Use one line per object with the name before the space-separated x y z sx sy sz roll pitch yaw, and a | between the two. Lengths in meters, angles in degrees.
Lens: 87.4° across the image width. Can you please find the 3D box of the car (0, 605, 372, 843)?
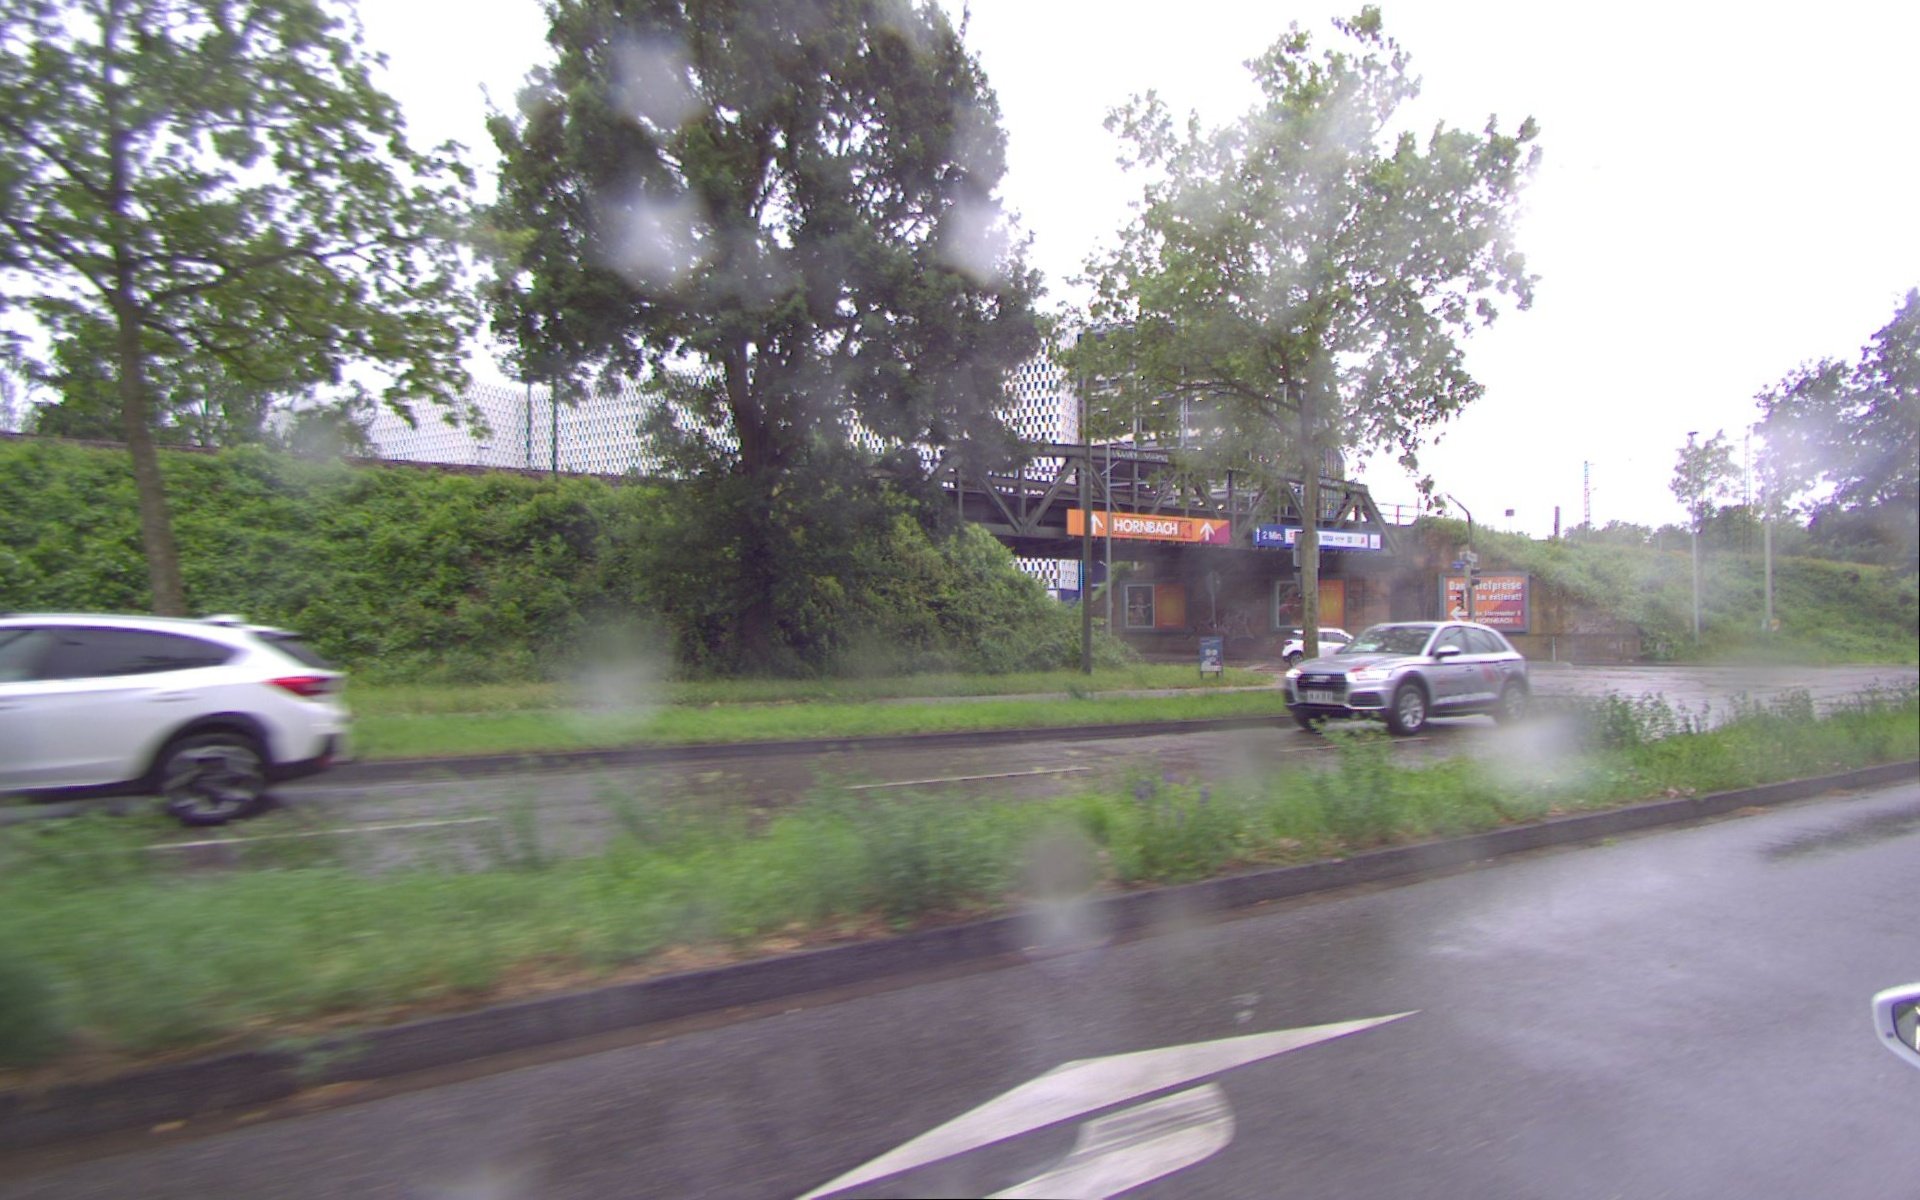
car | -7.044 0.862 7.558 4.466 1.610 1.848 1 -2 -30

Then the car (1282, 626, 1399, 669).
car | 14.551 1.800 38.394 3.988 1.541 1.998 0 -2 27

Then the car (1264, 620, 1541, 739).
car | 6.965 1.184 15.677 4.472 1.609 1.846 2 -4 -34
